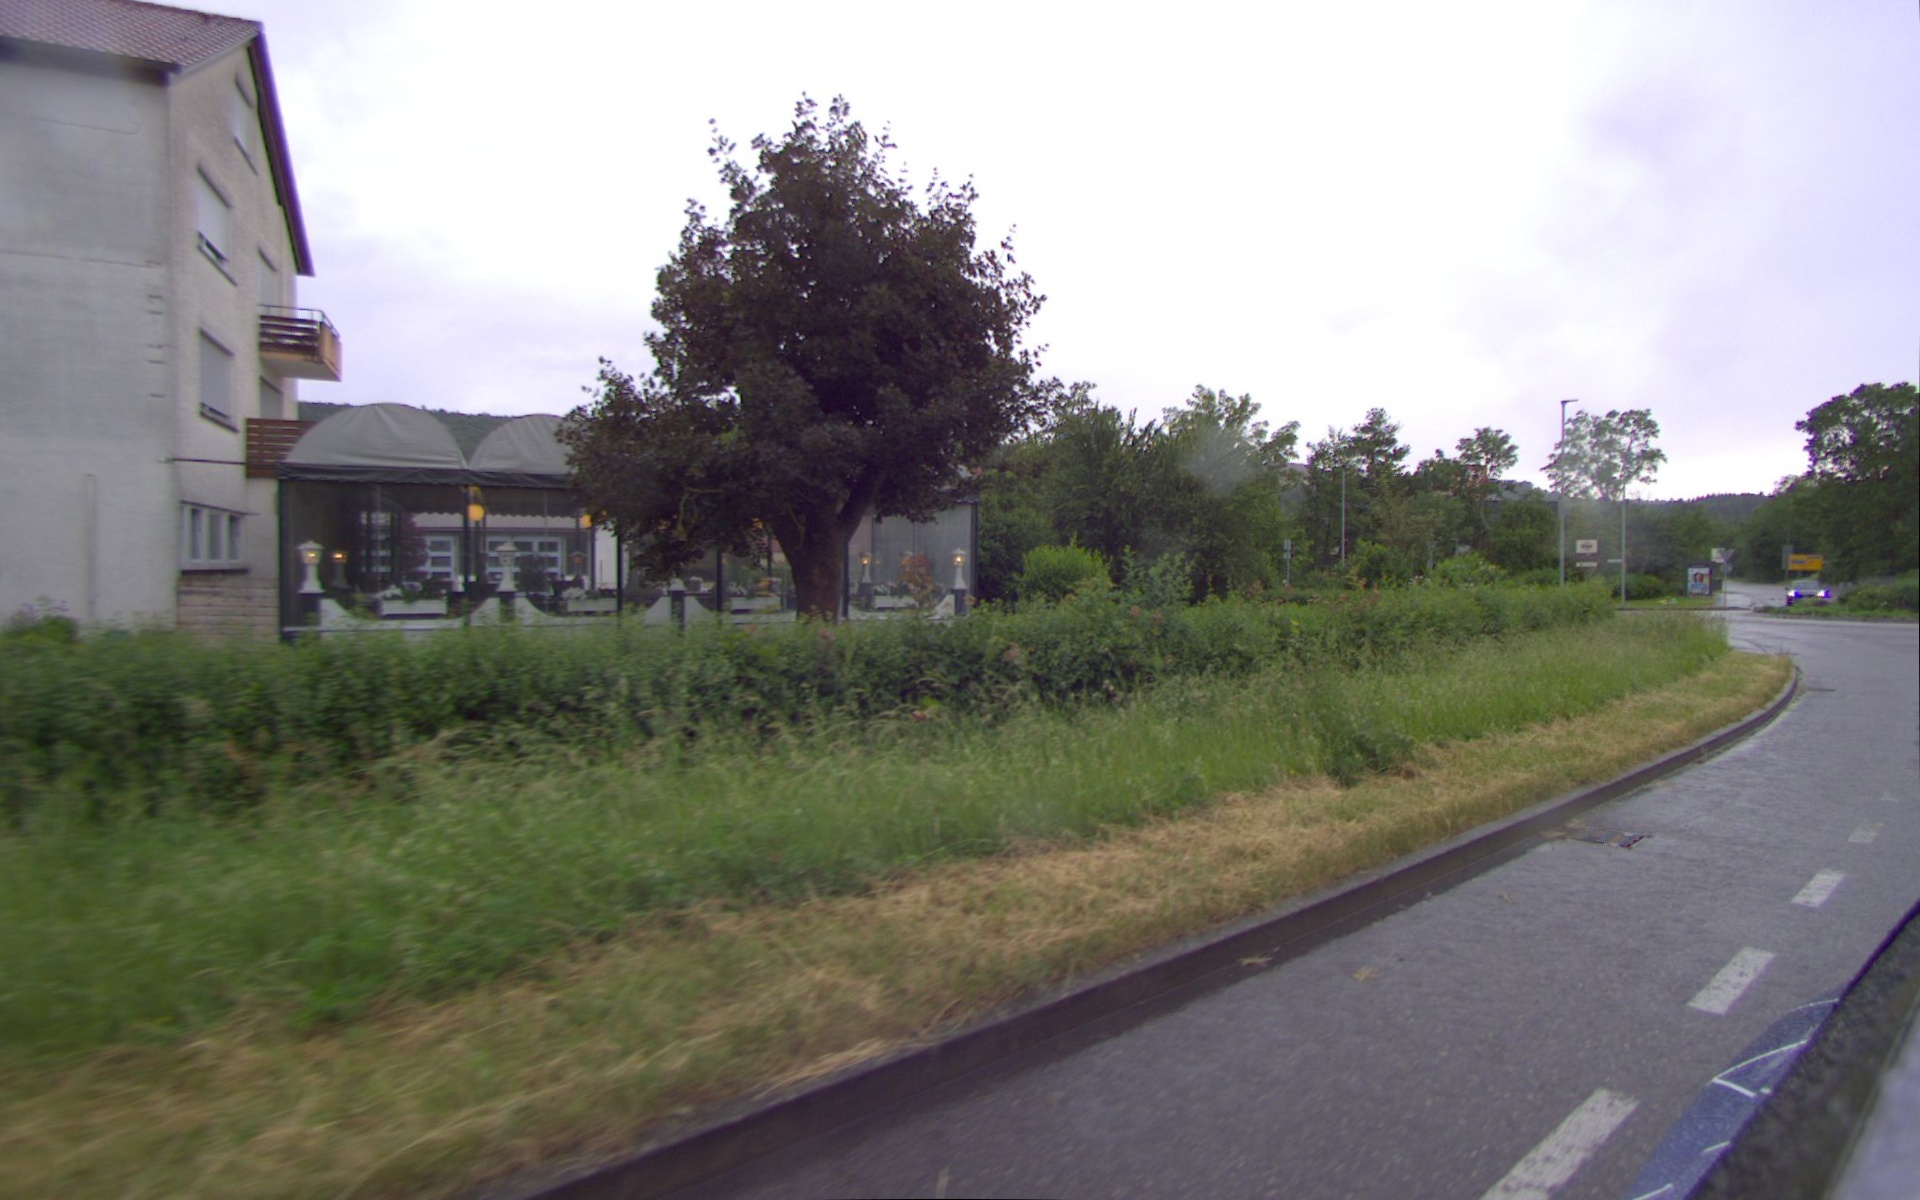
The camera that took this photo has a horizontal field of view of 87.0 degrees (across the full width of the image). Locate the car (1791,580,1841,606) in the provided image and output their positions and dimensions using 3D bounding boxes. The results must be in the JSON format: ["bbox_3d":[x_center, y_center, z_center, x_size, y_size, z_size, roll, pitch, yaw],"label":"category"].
[{"bbox_3d":[52.038,-0.460,61.579,1.844,1.508,4.072,0,2,33],"label":"car"}]
